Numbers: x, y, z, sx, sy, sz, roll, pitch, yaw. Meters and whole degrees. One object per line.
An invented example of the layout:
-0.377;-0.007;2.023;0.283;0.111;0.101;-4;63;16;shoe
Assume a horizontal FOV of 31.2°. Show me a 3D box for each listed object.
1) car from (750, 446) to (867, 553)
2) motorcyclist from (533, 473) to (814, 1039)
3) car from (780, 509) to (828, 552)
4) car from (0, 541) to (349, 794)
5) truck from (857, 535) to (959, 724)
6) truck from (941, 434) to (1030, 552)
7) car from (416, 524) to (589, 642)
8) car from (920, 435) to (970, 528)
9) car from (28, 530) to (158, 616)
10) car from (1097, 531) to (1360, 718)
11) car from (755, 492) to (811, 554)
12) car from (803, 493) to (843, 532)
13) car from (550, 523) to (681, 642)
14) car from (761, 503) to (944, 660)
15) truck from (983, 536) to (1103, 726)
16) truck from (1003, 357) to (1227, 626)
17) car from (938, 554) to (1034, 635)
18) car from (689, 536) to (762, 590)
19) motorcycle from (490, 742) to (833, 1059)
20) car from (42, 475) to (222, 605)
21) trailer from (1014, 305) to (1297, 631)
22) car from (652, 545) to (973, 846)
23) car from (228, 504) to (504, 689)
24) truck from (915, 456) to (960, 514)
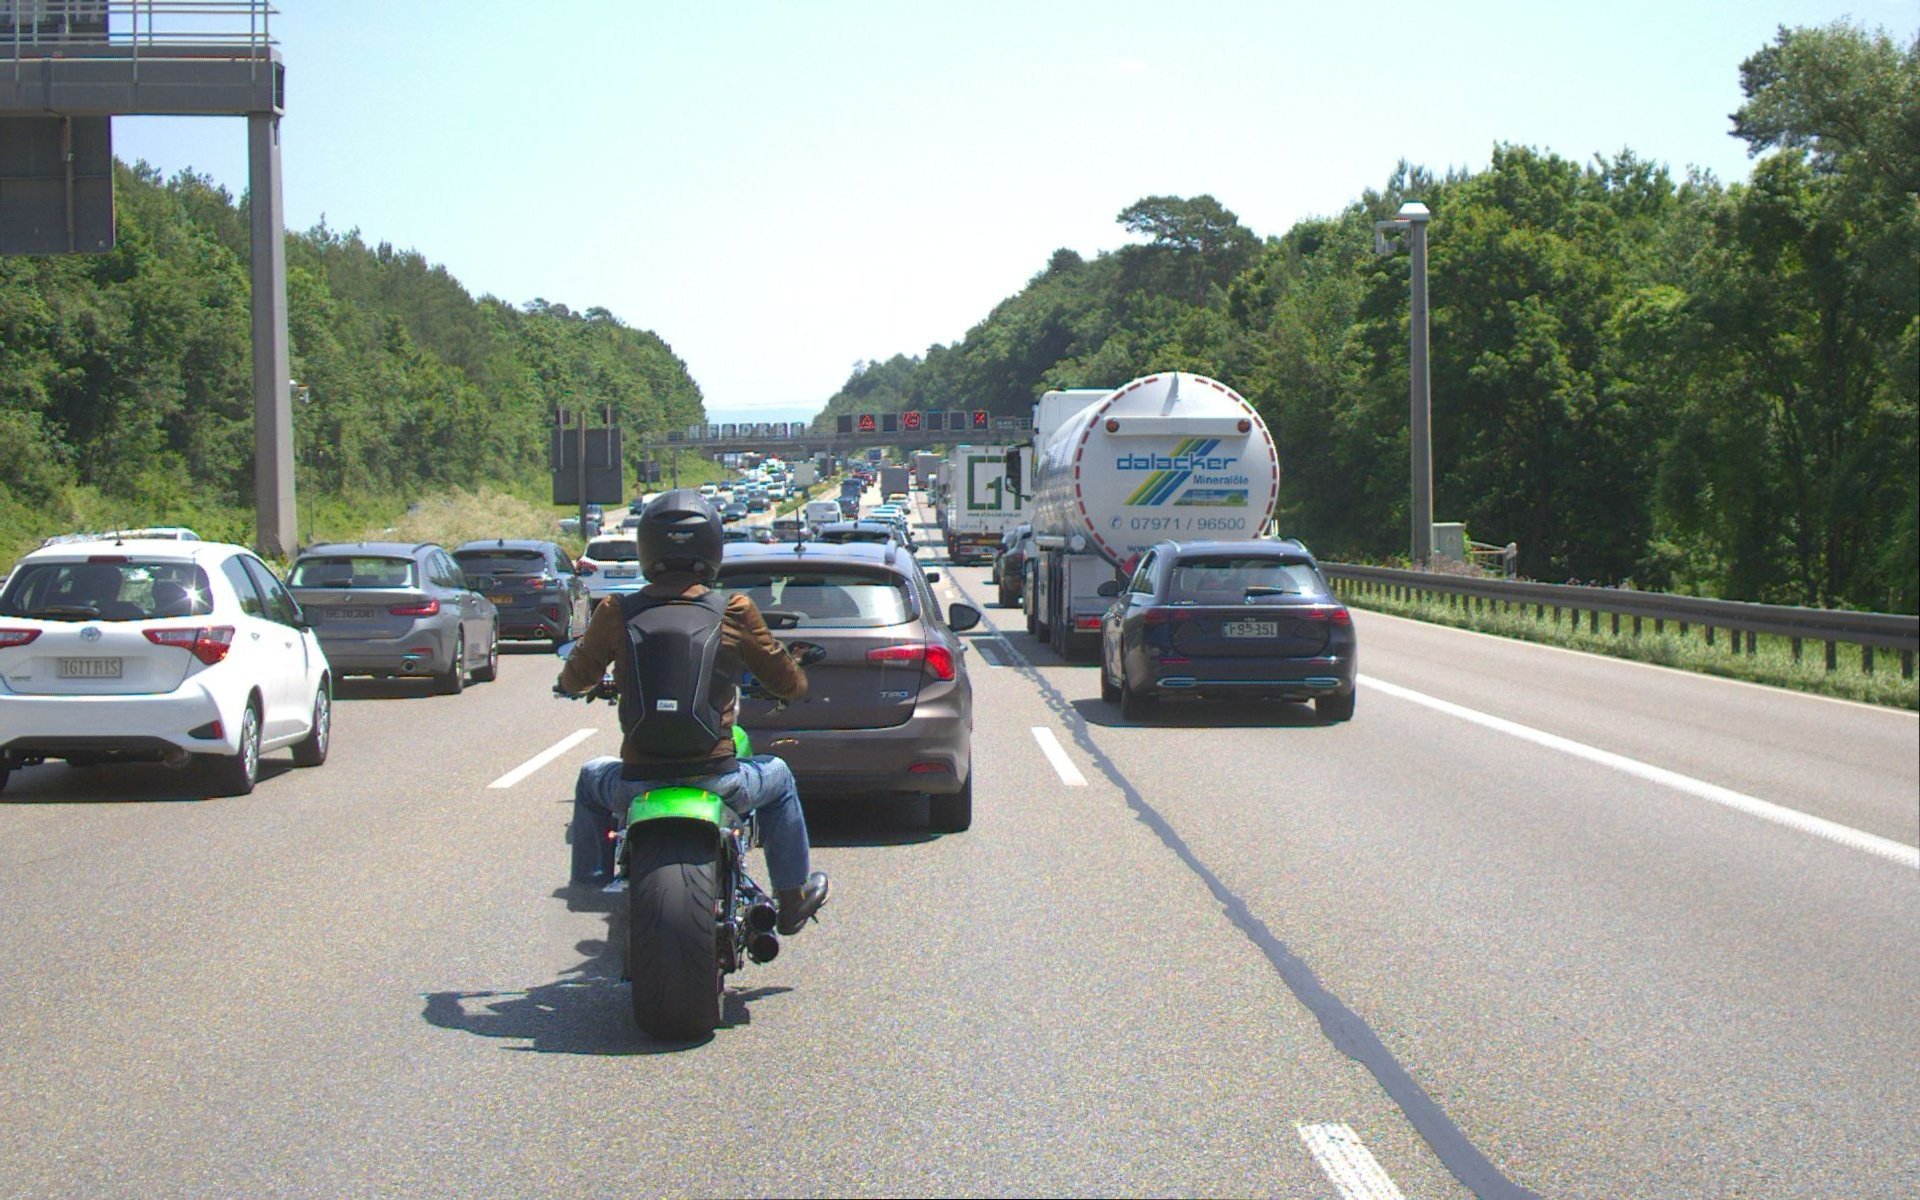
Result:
-2.658;-1.748;60.889;1.993;1.769;4.000;0;0;-2;car
-0.875;0.466;10.751;0.799;1.682;1.016;0;0;-1;motorcyclist
-5.935;-2.657;131.367;1.660;1.594;4.000;0;0;0;car
-4.987;0.374;21.207;1.776;1.406;4.000;0;0;-1;car
-1.407;0.612;87.509;2.388;4.448;10.870;0;1;-2;truck
0.922;-3.615;118.280;2.854;3.808;7.187;0;0;2;truck
-5.931;-0.213;44.940;1.993;1.459;4.000;0;0;-4;car
-0.718;-5.309;155.896;2.167;3.879;9.330;0;0;-1;car
-20.876;-0.632;82.947;1.993;2.007;4.473;0;0;0;car
2.186;0.192;29.149;1.792;1.453;4.624;0;0;-1;car
-5.822;-2.522;113.136;1.660;1.971;4.000;0;0;0;car
-7.188;-4.595;181.005;1.993;2.007;4.000;-1;1;-1;car
-6.039;-0.296;60.645;1.993;2.007;4.000;0;0;-1;car
-1.233;-0.202;39.627;1.993;1.705;4.000;0;0;-2;car
2.008;0.642;87.075;2.388;4.448;10.870;0;1;-2;truck
2.159;-1.479;50.078;2.828;3.658;6.430;0;0;-1;truck
0.488;-0.104;67.547;1.776;1.522;4.000;0;0;-1;car
-6.408;-1.033;94.341;1.764;1.437;4.000;0;1;0;car
-0.902;0.914;11.064;0.936;0.790;2.299;0;1;-1;motorcycle
-13.297;-0.929;55.437;1.993;2.007;4.193;0;0;-2;car
2.290;-1.487;44.141;2.828;3.658;10.733;0;0;-1;trailer
-0.742;0.432;18.568;1.541;1.445;4.000;0;1;-1;car
-5.710;-0.034;33.549;1.993;1.678;4.330;0;0;-1;car
-1.463;-7.198;216.649;2.696;3.394;10.479;-1;1;-1;truck
